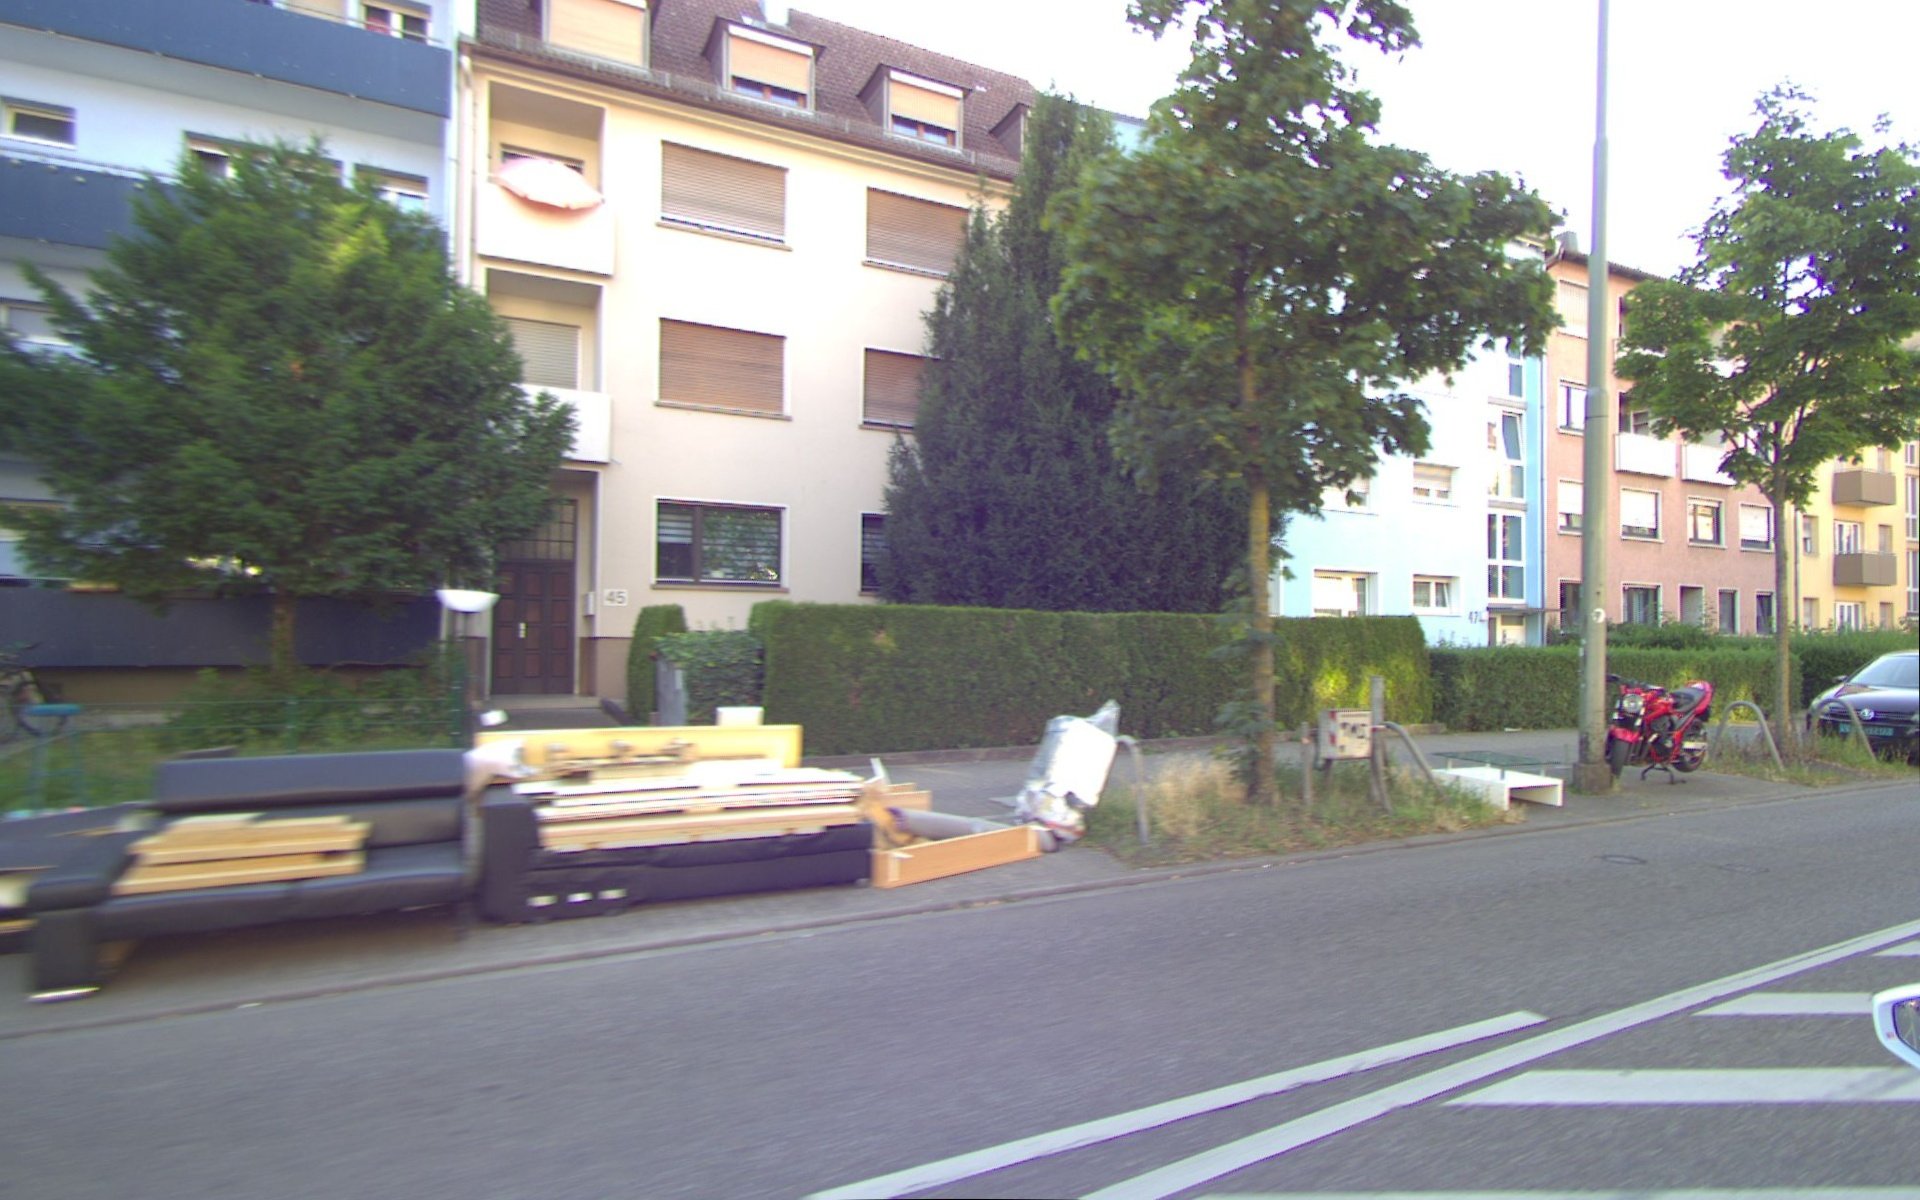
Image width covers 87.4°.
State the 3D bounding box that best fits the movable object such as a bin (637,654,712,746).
[{"bbox_3d":[-3.566,1.219,12.531,0.721,1.075,0.806,1,-2,-29],"label":"movable object such as a bin"}]

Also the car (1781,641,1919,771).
[{"bbox_3d":[13.371,1.364,13.653,4.258,1.537,1.831,1,-1,-26],"label":"car"}]

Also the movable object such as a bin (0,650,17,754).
[{"bbox_3d":[-10.134,1.026,9.720,1.047,1.062,1.457,1,-2,-26],"label":"movable object such as a bin"}]

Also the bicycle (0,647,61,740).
[{"bbox_3d":[-11.911,1.107,11.927,1.726,1.090,0.586,2,-2,-30],"label":"bicycle"}]

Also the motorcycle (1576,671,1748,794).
[{"bbox_3d":[7.527,1.369,10.738,2.147,1.151,0.635,2,0,-30],"label":"motorcycle"}]
